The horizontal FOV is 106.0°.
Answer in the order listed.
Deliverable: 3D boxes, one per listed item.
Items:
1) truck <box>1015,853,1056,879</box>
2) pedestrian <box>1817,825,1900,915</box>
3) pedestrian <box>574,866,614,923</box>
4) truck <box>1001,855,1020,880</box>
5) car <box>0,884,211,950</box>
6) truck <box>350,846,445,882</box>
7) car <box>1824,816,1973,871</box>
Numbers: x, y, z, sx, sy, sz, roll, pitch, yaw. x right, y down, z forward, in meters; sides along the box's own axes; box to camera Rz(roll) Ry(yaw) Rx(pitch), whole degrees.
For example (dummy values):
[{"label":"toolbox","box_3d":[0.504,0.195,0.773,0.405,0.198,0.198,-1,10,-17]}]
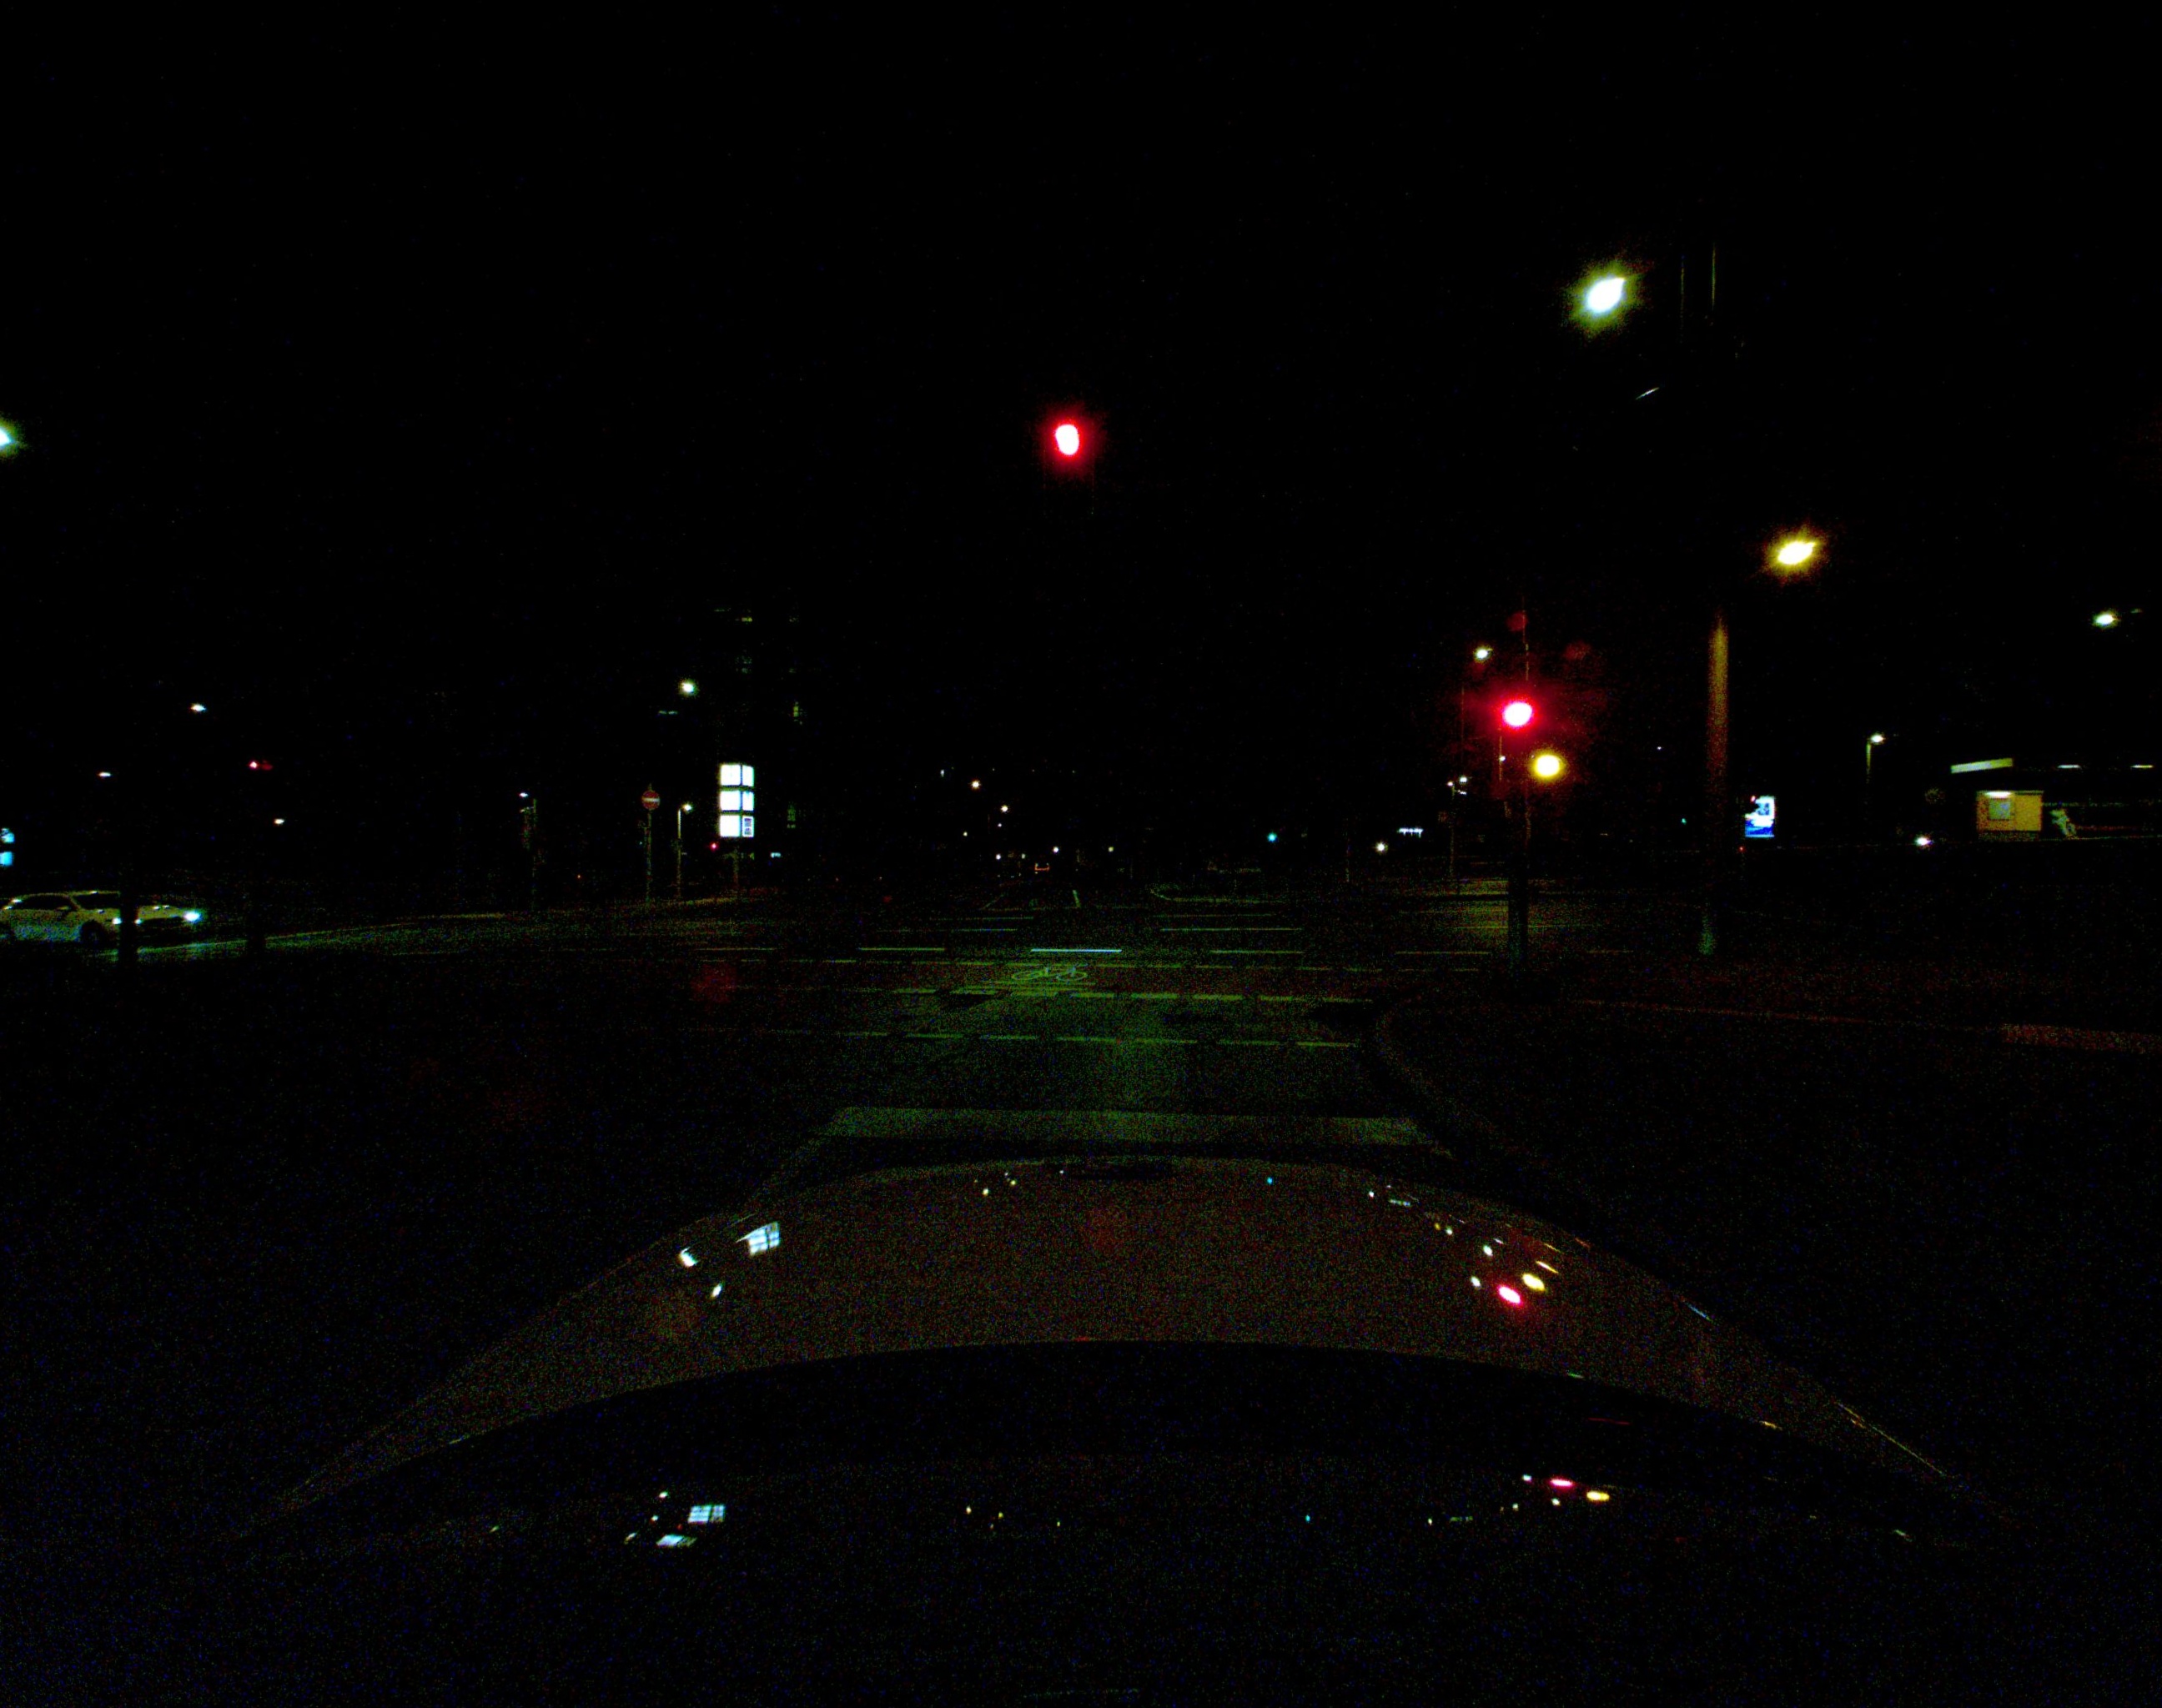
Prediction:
[{"label":"truck","box_3d":[-8.551,2.227,151.649,4.835,4.547,12.591,0,-1,-17]},{"label":"pedestrian","box_3d":[15.823,0.326,16.600,0.752,1.745,0.834,-4,-2,1]},{"label":"pedestrian","box_3d":[-14.343,1.178,24.023,0.667,1.634,0.862,0,-1,-3]},{"label":"truck","box_3d":[-10.404,1.961,119.811,2.580,3.707,5.723,0,-1,-7]},{"label":"car","box_3d":[-25.805,1.644,21.449,4.163,1.502,1.823,-2,0,8]},{"label":"truck","box_3d":[-59.760,0.877,71.261,5.873,3.088,2.915,0,-1,3]},{"label":"car","box_3d":[34.364,-0.420,34.354,3.966,2.014,2.003,-4,-1,6]}]
